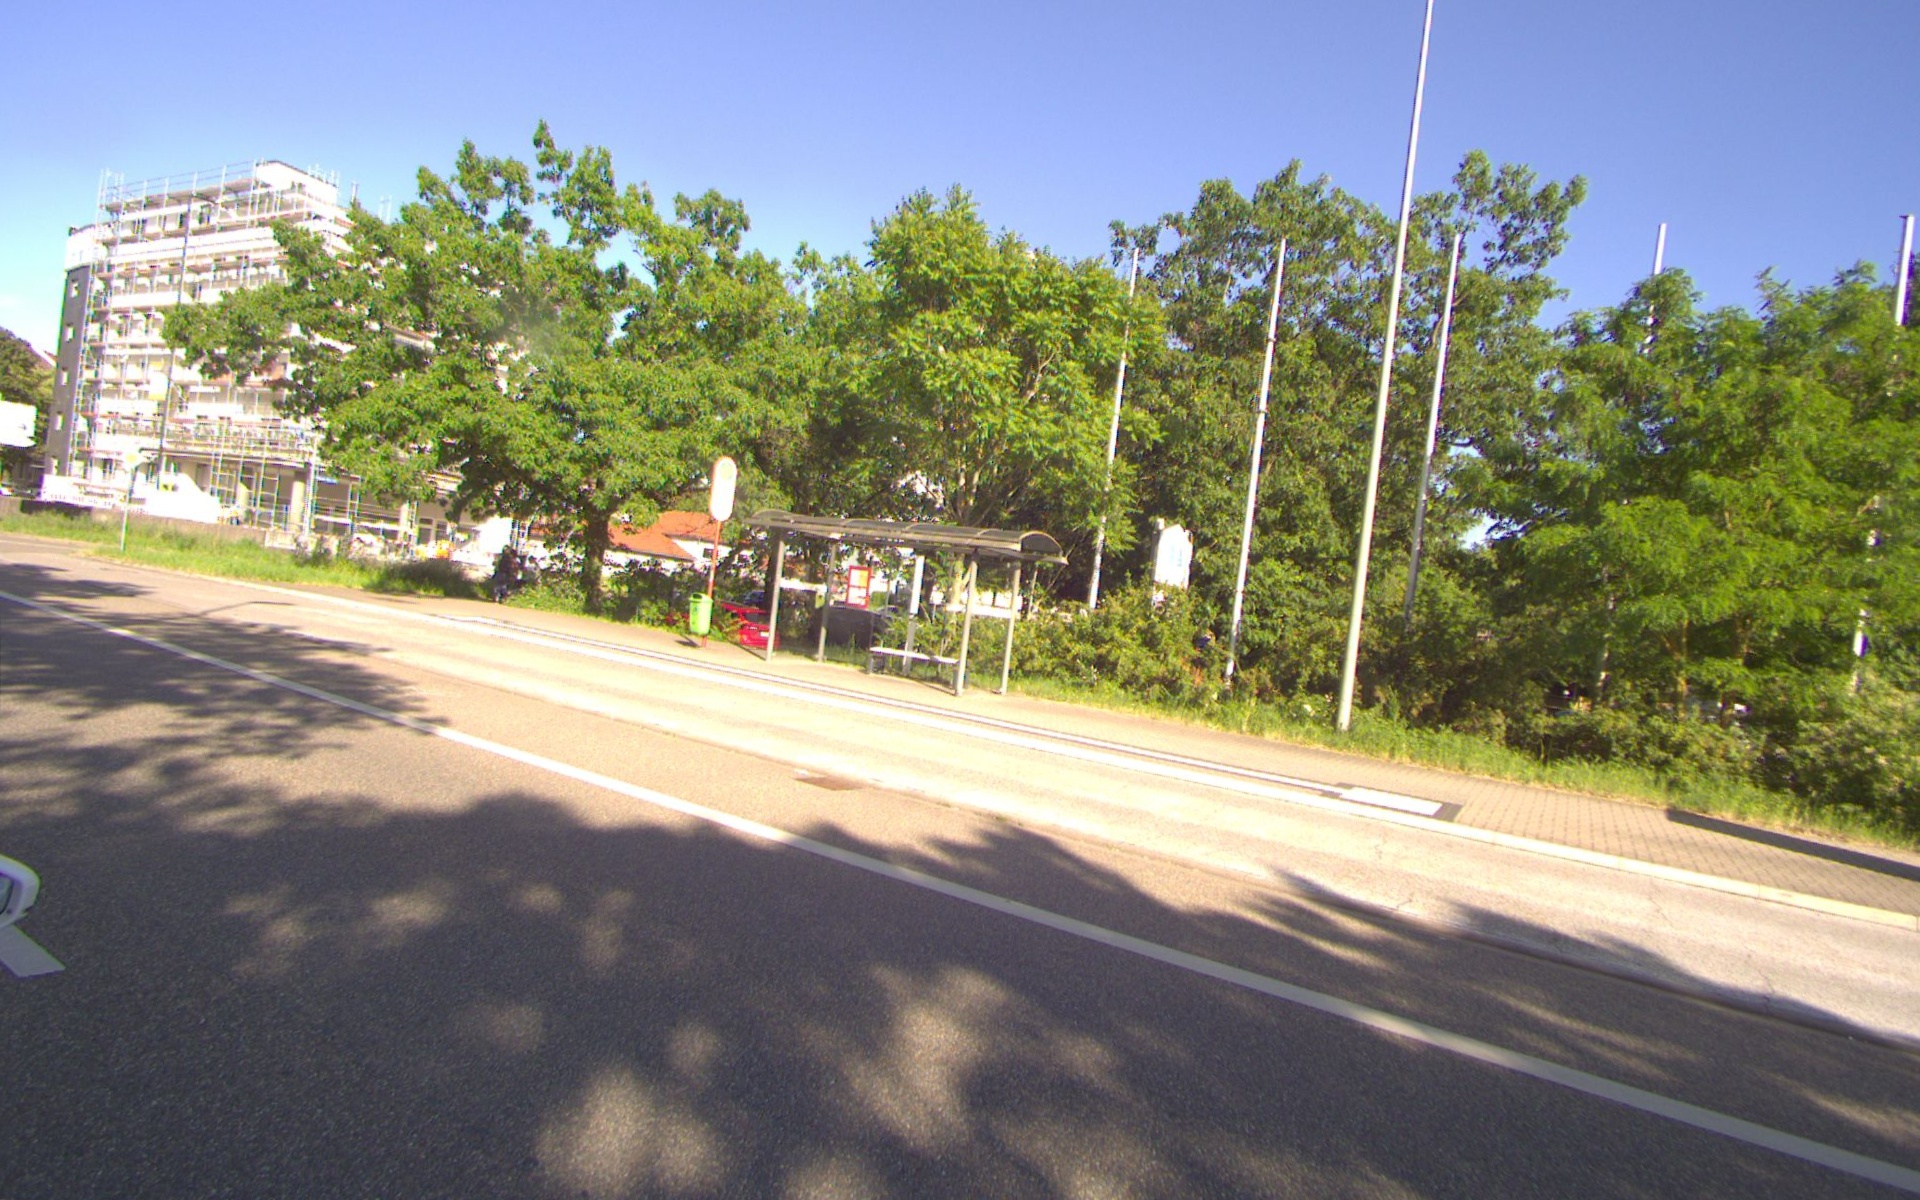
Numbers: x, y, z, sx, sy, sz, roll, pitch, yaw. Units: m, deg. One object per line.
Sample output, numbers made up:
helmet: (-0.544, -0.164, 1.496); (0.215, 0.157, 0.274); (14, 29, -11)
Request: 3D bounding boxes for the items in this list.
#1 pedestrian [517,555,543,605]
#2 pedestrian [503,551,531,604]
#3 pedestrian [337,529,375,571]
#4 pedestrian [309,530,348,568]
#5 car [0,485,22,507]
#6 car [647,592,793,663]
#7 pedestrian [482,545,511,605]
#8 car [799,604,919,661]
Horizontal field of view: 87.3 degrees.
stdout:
pedestrian: (-13.400, -0.634, 31.328); (0.517, 1.465, 0.587); (7, 1, -32)
pedestrian: (-12.762, -0.646, 28.961); (0.517, 1.465, 0.587); (7, 1, -32)
pedestrian: (-27.069, -2.227, 45.089); (0.969, 1.674, 0.892); (7, 0, 13)
pedestrian: (-27.664, -2.217, 44.071); (0.948, 1.465, 0.895); (7, 0, 19)
car: (-66.542, -7.273, 70.001); (1.521, 1.330, 3.250); (7, 0, -40)
car: (-6.872, 0.793, 28.745); (3.680, 1.504, 1.755); (7, 0, 28)
pedestrian: (-13.061, -0.710, 28.359); (0.517, 1.632, 0.587); (7, 1, -32)
car: (-3.583, 1.174, 35.978); (3.674, 1.504, 1.914); (7, 0, 13)
